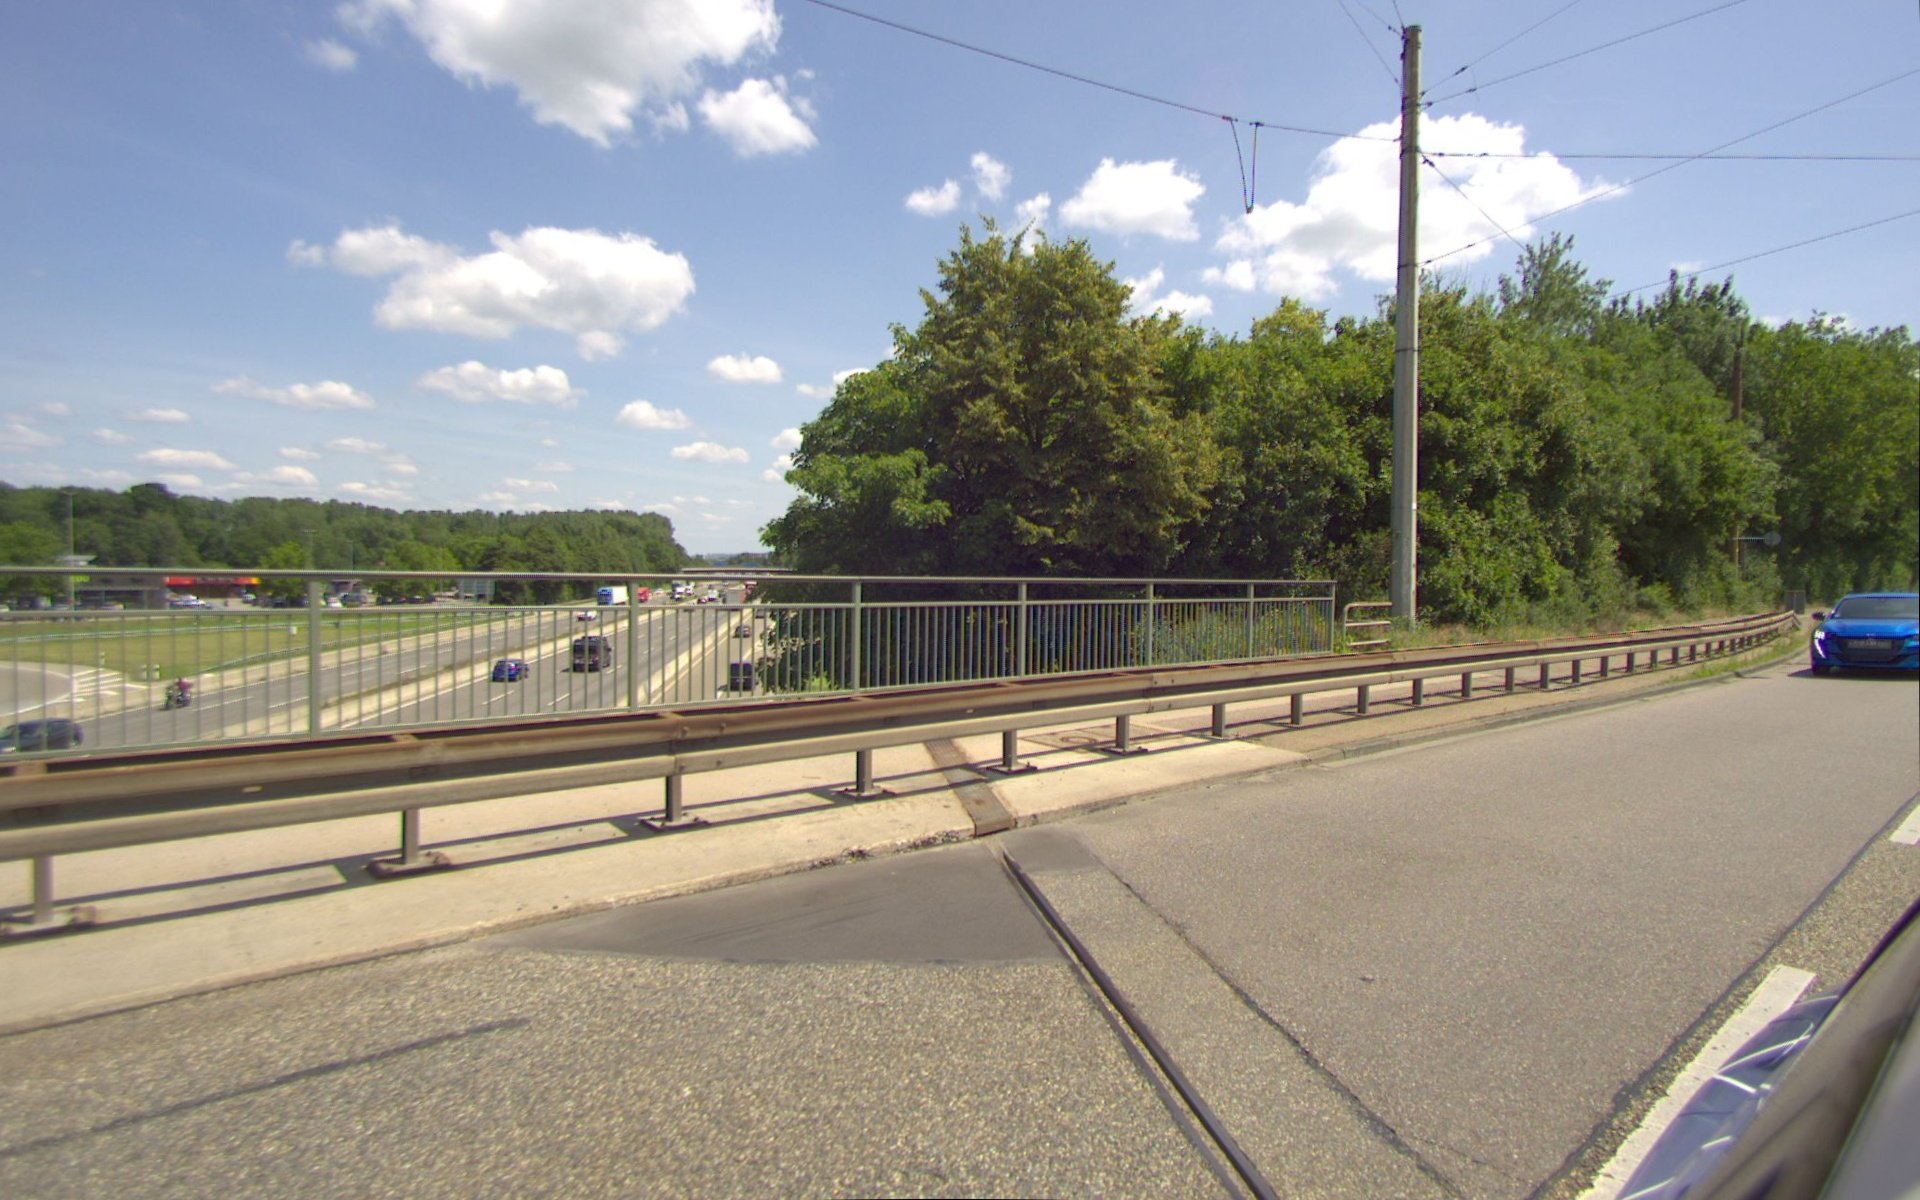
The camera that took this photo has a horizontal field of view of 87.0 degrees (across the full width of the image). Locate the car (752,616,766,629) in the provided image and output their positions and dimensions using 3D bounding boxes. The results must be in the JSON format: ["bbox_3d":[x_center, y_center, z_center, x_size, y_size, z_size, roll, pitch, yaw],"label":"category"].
[{"bbox_3d":[-32.113,3.595,161.618,1.921,1.951,4.004,-2,-3,-9],"label":"car"}]

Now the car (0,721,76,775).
[{"bbox_3d":[-38.055,5.979,41.007,1.431,1.437,3.998,-2,2,-10],"label":"car"}]

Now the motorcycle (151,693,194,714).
[{"bbox_3d":[-44.371,5.811,57.056,0.840,1.002,2.475,-2,-3,-9],"label":"motorcycle"}]

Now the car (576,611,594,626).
[{"bbox_3d":[-54.416,2.651,146.963,1.597,1.951,4.003,-2,-3,-8],"label":"car"}]

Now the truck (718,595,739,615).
[{"bbox_3d":[-42.803,0.894,187.130,3.300,3.483,6.964,0,1,-8],"label":"truck"}]

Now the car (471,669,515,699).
[{"bbox_3d":[-32.445,5.820,70.404,1.789,1.817,4.005,-2,-3,-11],"label":"car"}]

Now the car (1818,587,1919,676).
[{"bbox_3d":[16.536,0.490,17.827,3.679,1.423,1.658,-1,1,-41],"label":"car"}]

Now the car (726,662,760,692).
[{"bbox_3d":[-14.757,5.236,68.882,1.964,1.817,4.004,-2,-3,-8],"label":"car"}]

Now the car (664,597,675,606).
[{"bbox_3d":[-70.486,0.395,245.499,1.921,1.951,4.004,-2,-3,-9],"label":"car"}]

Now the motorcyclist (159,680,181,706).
[{"bbox_3d":[-44.425,5.217,56.934,0.591,1.362,0.912,-2,-3,-9],"label":"motorcyclist"}]
